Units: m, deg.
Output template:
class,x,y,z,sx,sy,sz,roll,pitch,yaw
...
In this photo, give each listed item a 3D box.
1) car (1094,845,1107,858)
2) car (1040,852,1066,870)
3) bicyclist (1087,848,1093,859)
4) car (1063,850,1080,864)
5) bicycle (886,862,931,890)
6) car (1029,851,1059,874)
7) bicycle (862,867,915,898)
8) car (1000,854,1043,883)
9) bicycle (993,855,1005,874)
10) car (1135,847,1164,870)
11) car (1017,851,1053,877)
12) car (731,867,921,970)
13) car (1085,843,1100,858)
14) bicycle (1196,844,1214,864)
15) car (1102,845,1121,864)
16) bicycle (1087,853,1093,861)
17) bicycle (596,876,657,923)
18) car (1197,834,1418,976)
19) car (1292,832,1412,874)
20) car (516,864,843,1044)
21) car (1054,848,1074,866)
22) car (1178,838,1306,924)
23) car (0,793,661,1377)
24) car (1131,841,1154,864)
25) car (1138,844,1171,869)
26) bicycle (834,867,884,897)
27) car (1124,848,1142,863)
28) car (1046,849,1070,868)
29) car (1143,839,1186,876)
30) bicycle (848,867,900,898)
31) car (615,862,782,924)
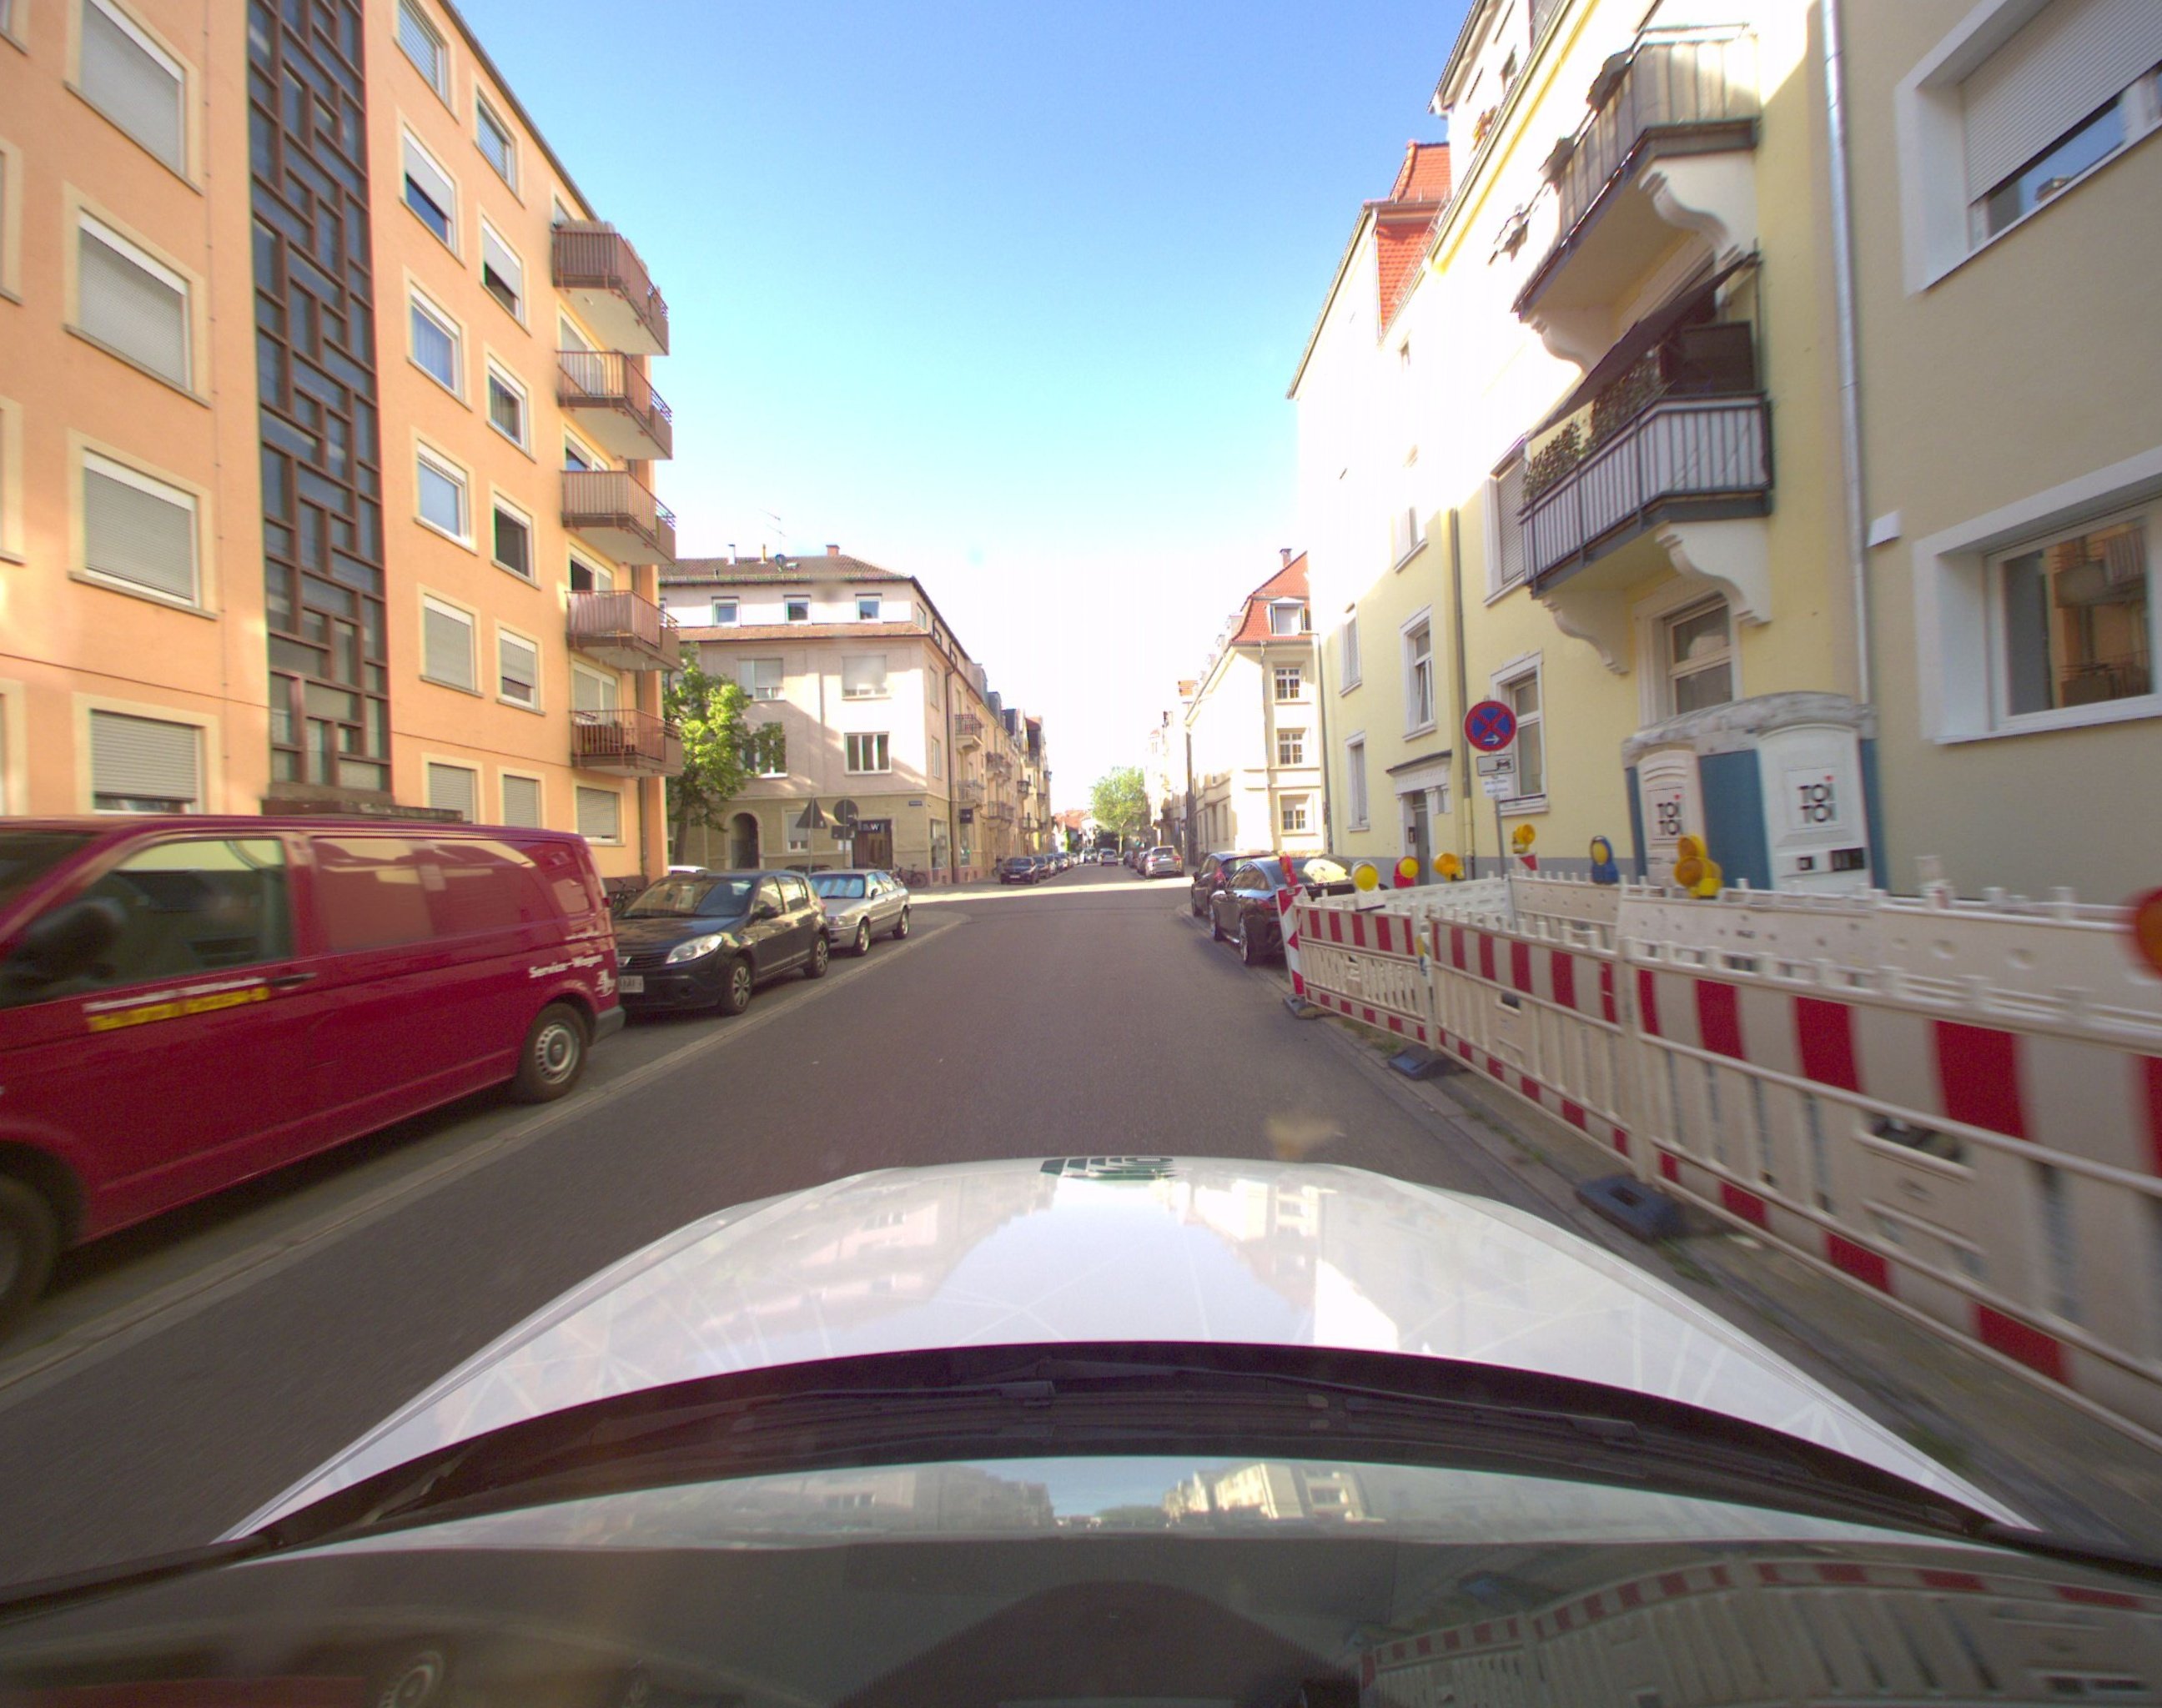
class,x,y,z,sx,sy,sz,roll,pitch,yaw
car,3.100,-0.310,129.301,1.996,2.000,4.487,-1,-1,1
car,-2.374,0.596,69.581,1.972,1.482,4.328,-1,-1,1
bicyclist,1.135,-0.053,102.988,0.660,1.385,0.754,-5,-1,0
car,-1.128,0.377,100.330,1.996,1.605,4.487,-1,-1,1
bicycle,-7.862,0.992,37.119,1.896,1.135,0.647,-2,2,-6
car,-2.720,0.620,60.788,1.996,1.619,4.487,-1,-1,1
bicycle,-7.703,1.139,32.600,1.890,1.135,0.649,-2,2,2
car,-3.082,0.741,42.818,1.672,1.426,4.277,-1,-1,3
bicycle,-5.906,0.743,58.681,0.538,1.301,1.868,-2,0,3
car,4.892,0.374,58.469,1.831,1.431,4.031,-5,-1,2
car,-2.934,0.652,53.311,1.996,1.582,4.487,-1,-1,1
car,-4.307,1.013,14.571,1.756,1.377,4.481,-3,0,2
car,1.553,-0.484,111.441,1.996,2.000,4.487,-1,-1,1
bicycle,7.889,-0.012,51.707,0.758,1.246,2.593,-3,0,2
car,3.329,0.058,88.455,1.996,1.914,4.489,-1,-1,2
bicycle,1.157,0.373,102.963,0.660,1.019,2.066,-5,-1,1
bicycle,-11.262,1.108,20.251,0.502,1.063,1.891,-1,0,-2
car,2.983,0.571,11.978,1.795,1.470,5.113,-6,0,1
car,11.647,-0.023,35.165,4.531,1.468,1.825,-3,-2,-6
car,-4.337,0.962,9.624,1.757,1.502,4.000,-4,0,0
car,-1.762,0.331,85.951,1.996,1.788,4.487,-1,-1,1
car,3.326,0.508,17.628,1.758,1.470,4.082,-6,0,-2
car,-4.434,0.788,4.231,1.756,1.925,4.936,-3,0,1
car,5.345,-0.064,71.270,1.831,1.787,4.030,-4,-2,2
car,4.765,0.220,53.081,1.831,1.431,4.031,-5,-1,2
bicycle,-9.403,1.188,34.507,1.893,1.135,0.526,-3,2,-1
car,5.752,0.148,90.096,1.831,1.431,4.030,-5,-2,2
car,-2.049,0.430,74.299,1.996,1.619,4.487,-1,-1,1
car,4.284,0.207,42.396,1.905,1.644,4.778,-5,-1,4
bicycle,-8.478,1.149,33.378,1.890,1.135,0.526,-3,2,2
car,-12.120,1.208,26.042,4.428,1.592,1.724,-3,1,-6
